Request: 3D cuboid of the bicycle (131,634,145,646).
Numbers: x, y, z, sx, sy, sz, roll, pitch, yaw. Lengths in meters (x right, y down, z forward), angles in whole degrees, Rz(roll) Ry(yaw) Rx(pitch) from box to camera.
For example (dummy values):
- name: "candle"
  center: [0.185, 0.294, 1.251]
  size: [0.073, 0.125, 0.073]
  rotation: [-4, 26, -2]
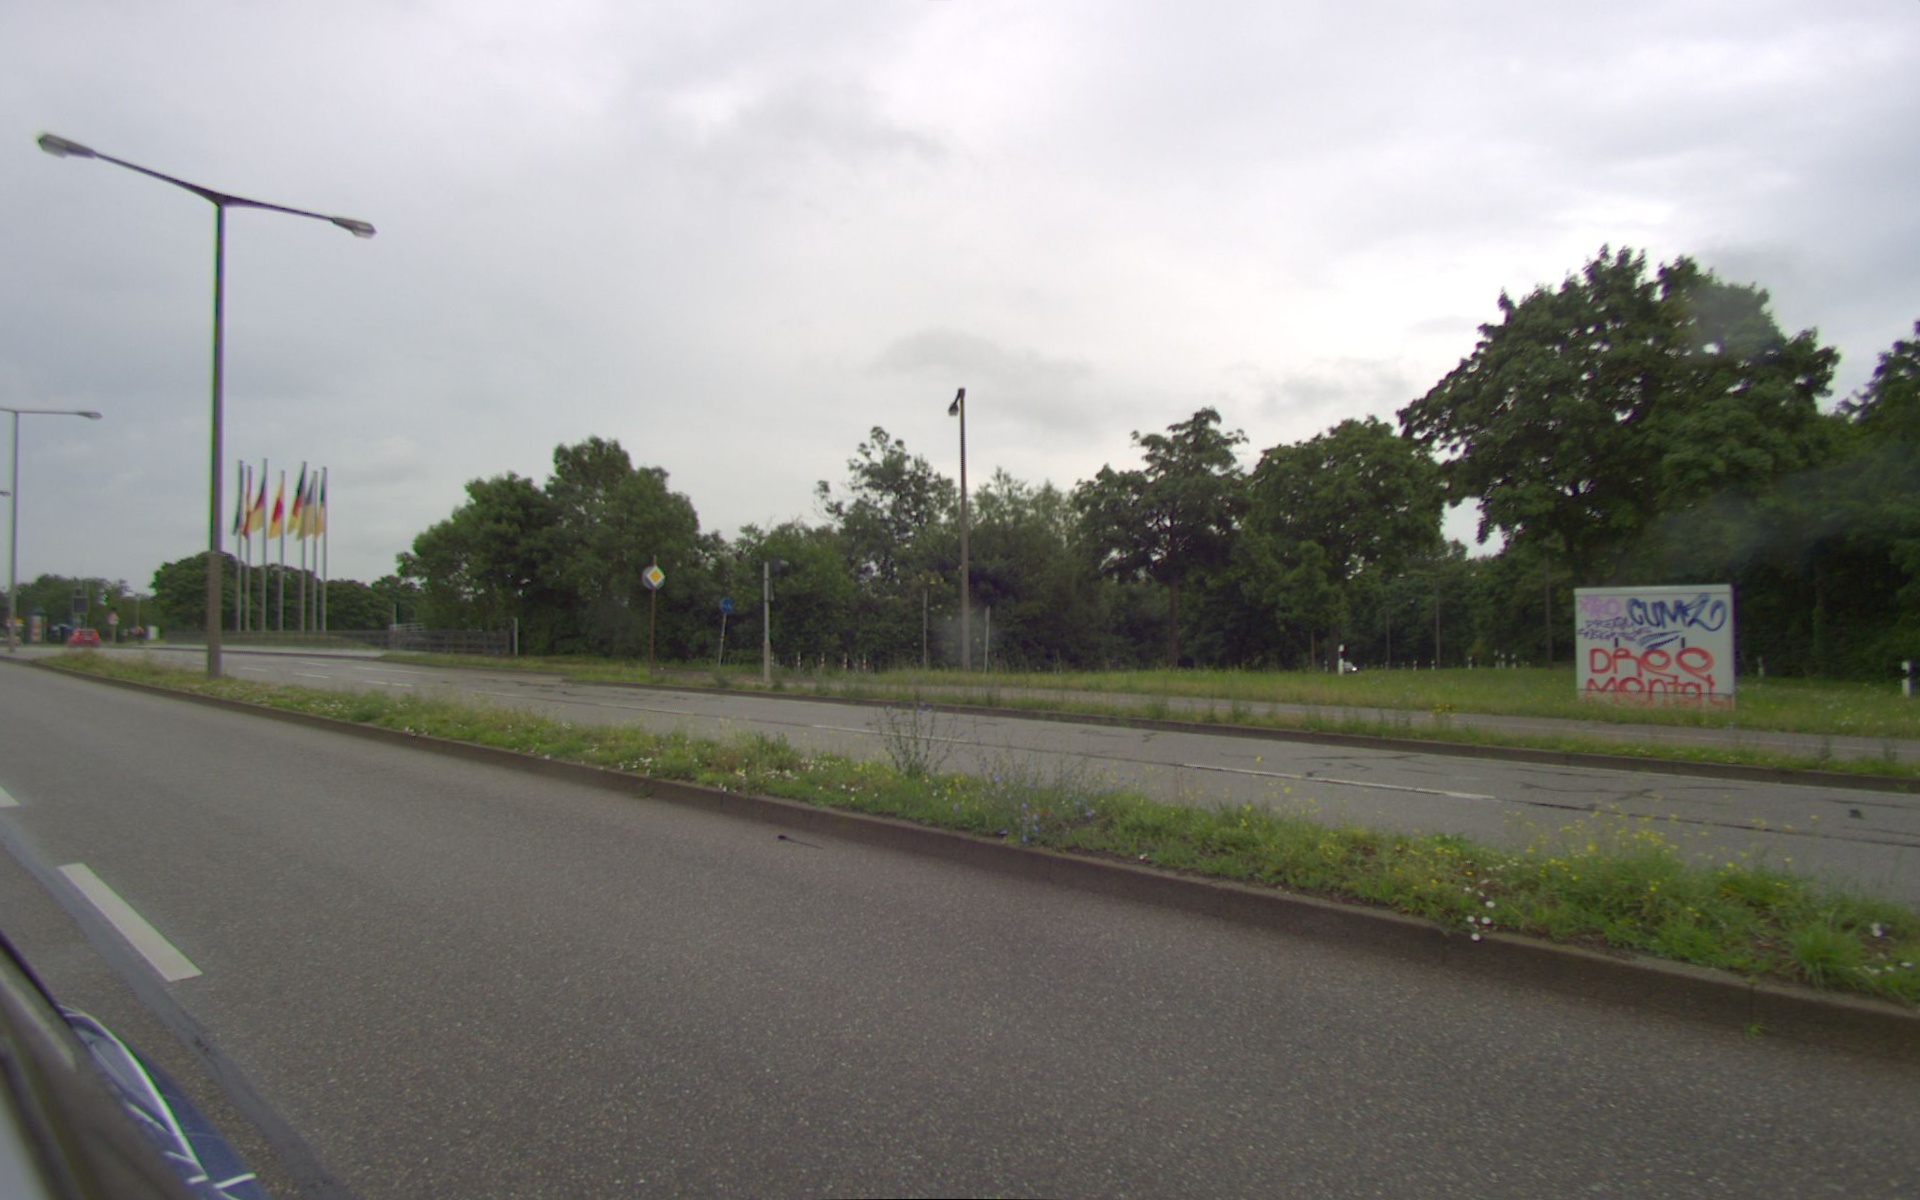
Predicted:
- name: "bicycle"
  center: [-71.811, 3.501, 88.370]
  size: [2.000, 1.041, 0.603]
  rotation: [-1, 0, 41]

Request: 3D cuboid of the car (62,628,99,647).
- name: "car"
  center: [-69.260, 2.943, 79.673]
  size: [3.555, 1.459, 1.643]
  rotation: [-1, -4, 41]

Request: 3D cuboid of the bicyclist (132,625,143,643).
- name: "bicyclist"
  center: [-71.823, 2.956, 88.371]
  size: [1.002, 1.511, 0.613]
  rotation: [-1, 0, 41]
